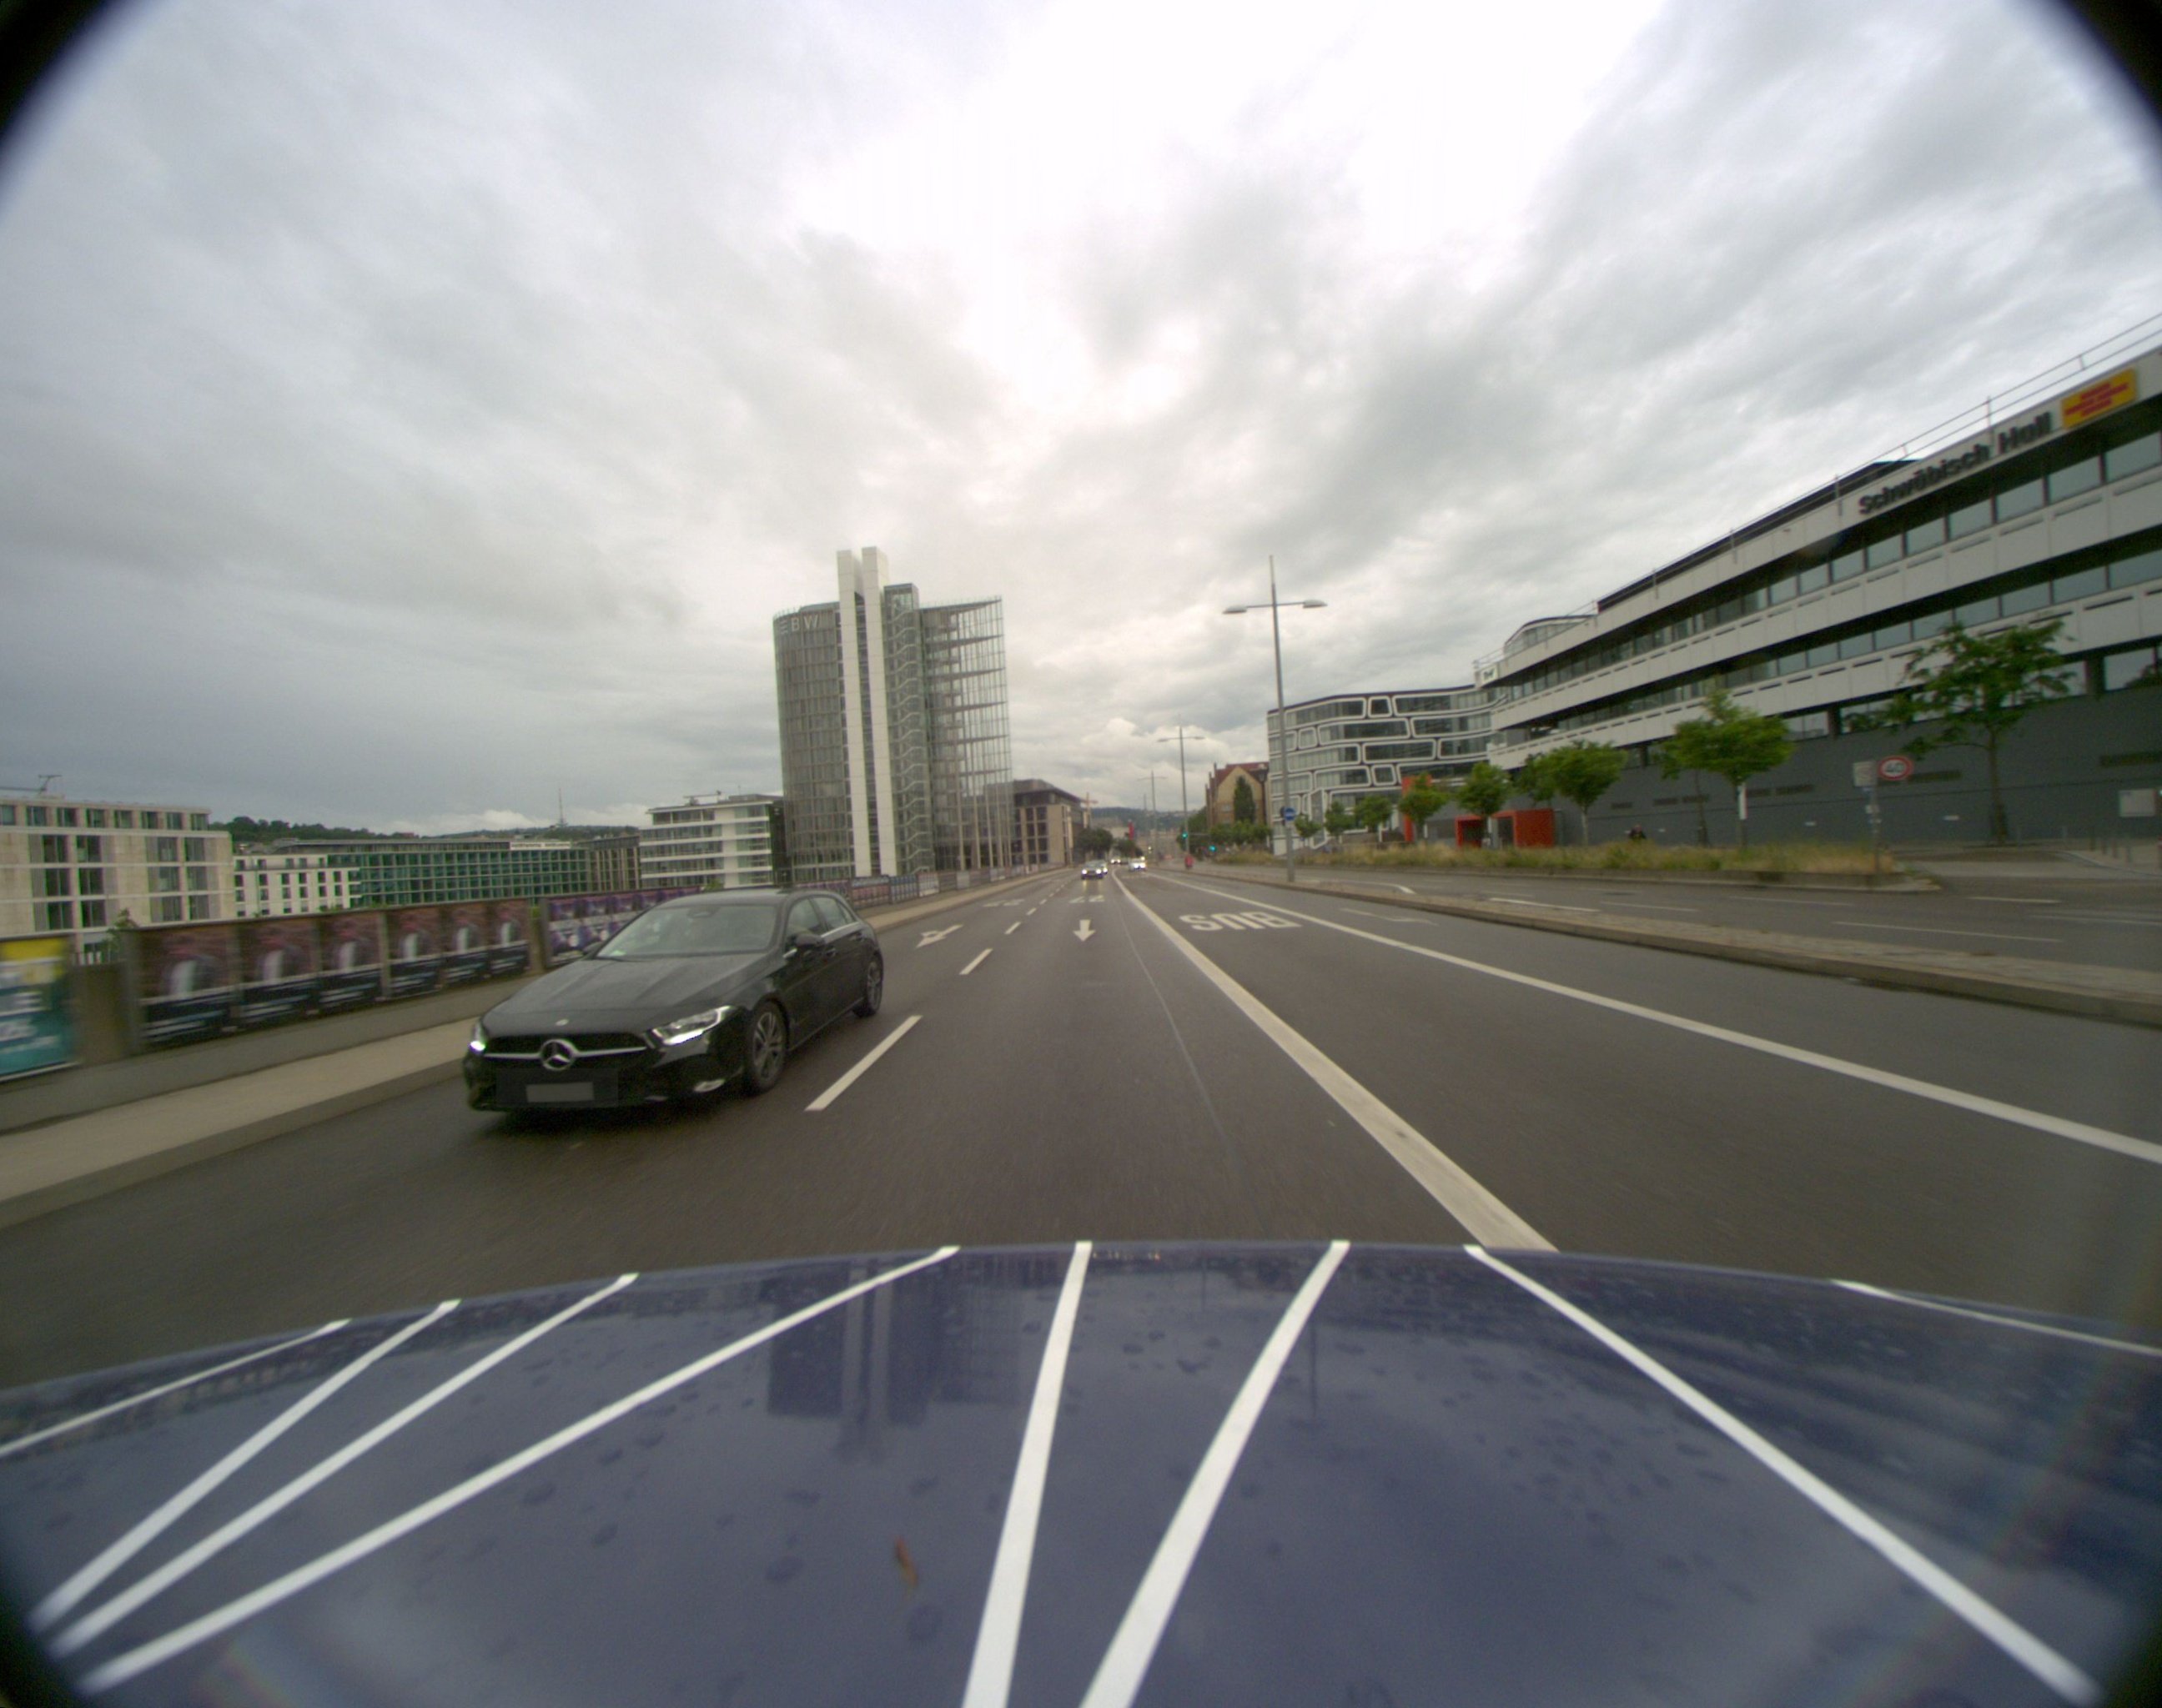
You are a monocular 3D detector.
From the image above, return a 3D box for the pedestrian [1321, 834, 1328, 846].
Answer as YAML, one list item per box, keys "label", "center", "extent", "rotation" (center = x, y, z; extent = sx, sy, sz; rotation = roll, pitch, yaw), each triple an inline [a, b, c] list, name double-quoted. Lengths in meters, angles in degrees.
- label: "pedestrian"
  center: [28.921, -1.681, 90.211]
  extent: [0.619, 1.438, 0.798]
  rotation: [-3, 2, 3]

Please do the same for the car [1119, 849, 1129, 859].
- label: "car"
  center: [9.410, -0.024, 167.615]
  extent: [1.998, 2.002, 3.999]
  rotation: [-3, 2, 1]

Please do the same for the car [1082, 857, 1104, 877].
- label: "car"
  center: [0.981, 1.019, 60.270]
  extent: [1.684, 1.379, 3.475]
  rotation: [-3, 1, 1]

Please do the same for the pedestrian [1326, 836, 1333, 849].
- label: "pedestrian"
  center: [33.039, -1.534, 101.110]
  extent: [0.612, 1.602, 0.640]
  rotation: [-4, 2, 5]

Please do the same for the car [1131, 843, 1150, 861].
- label: "car"
  center: [6.910, -0.274, 88.085]
  extent: [1.969, 1.816, 3.929]
  rotation: [-3, 1, 8]

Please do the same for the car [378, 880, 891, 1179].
- label: "car"
  center: [-3.025, 1.066, 6.350]
  extent: [1.727, 1.368, 4.154]
  rotation: [-3, 1, 1]

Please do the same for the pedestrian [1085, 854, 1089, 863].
- label: "pedestrian"
  center: [1.094, 0.858, 140.675]
  extent: [0.660, 1.601, 0.547]
  rotation: [-3, 1, 8]

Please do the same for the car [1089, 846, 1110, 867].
- label: "car"
  center: [1.881, 0.241, 79.038]
  extent: [1.998, 2.002, 3.999]
  rotation: [-3, 2, 1]

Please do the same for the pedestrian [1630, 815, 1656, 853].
- label: "pedestrian"
  center: [27.694, -0.977, 37.423]
  extent: [0.786, 1.797, 0.628]
  rotation: [-3, 2, 2]

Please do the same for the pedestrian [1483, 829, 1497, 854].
- label: "pedestrian"
  center: [29.543, -0.923, 54.875]
  extent: [0.631, 1.797, 0.628]
  rotation: [-3, 2, 2]

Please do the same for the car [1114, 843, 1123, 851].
- label: "car"
  center: [9.096, -1.707, 186.774]
  extent: [1.998, 2.002, 3.999]
  rotation: [-3, 2, 1]

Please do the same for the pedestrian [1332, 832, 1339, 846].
- label: "pedestrian"
  center: [30.226, -1.815, 90.181]
  extent: [0.619, 1.649, 0.798]
  rotation: [-1, 2, 3]

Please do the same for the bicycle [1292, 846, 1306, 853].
- label: "bicycle"
  center: [26.287, -0.507, 91.566]
  extent: [0.610, 0.852, 1.653]
  rotation: [-4, 2, -31]
